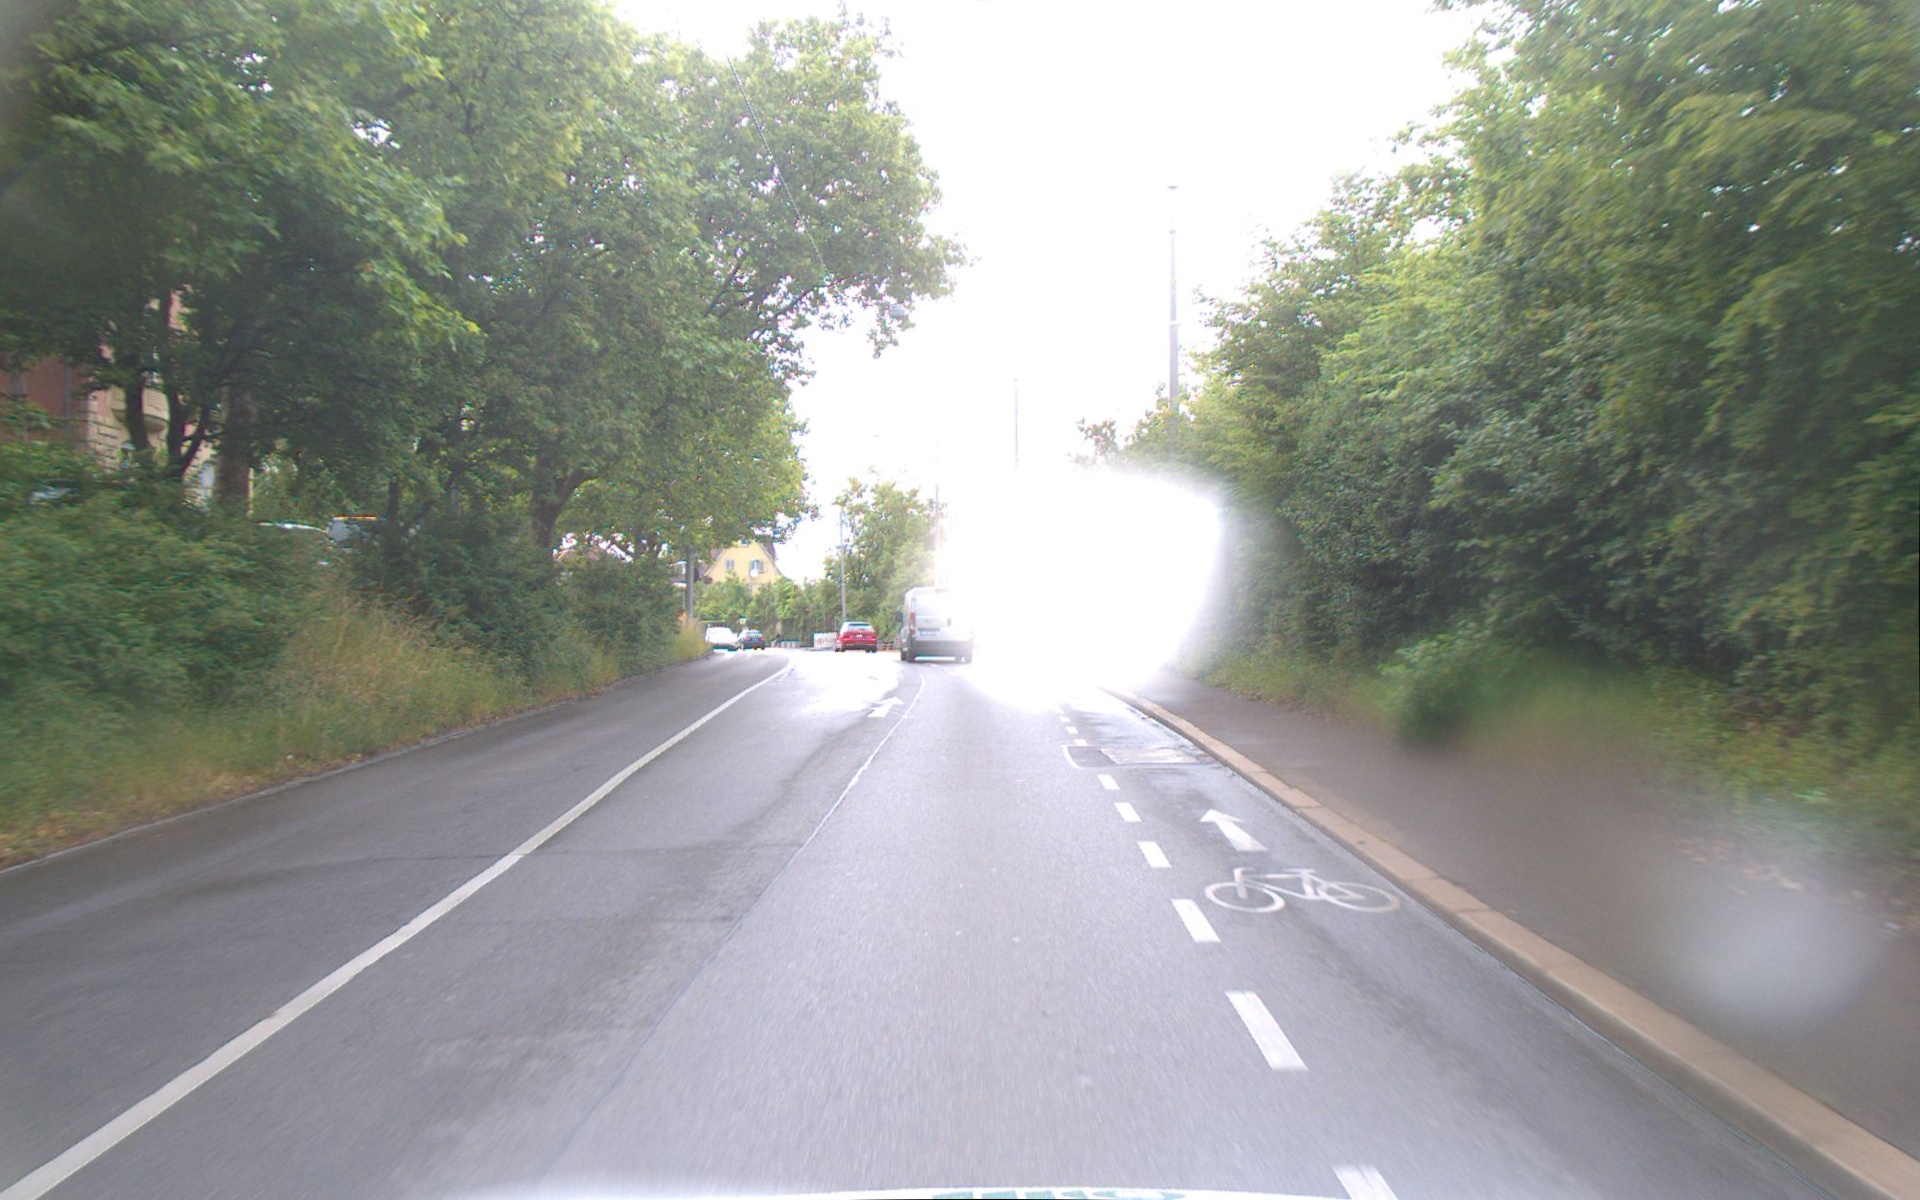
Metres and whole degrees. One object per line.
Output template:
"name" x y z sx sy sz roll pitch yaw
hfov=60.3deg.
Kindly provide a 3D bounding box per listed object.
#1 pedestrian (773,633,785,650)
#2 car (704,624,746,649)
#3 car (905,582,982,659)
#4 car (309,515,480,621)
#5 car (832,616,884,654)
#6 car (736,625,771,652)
"pedestrian" -15.519 3.556 141.696 0.864 1.391 1.062 1 0 -13
"car" -13.941 2.148 97.933 2.035 1.376 4.698 1 0 -13
"car" -0.565 0.616 51.804 2.193 2.252 4.711 1 0 -3
"car" -11.888 -0.624 35.112 1.952 2.049 4.627 1 0 0
"car" -4.899 1.643 78.929 2.195 1.686 4.706 1 0 -7
"car" -15.321 2.832 122.507 2.197 1.836 4.700 1 0 -11
